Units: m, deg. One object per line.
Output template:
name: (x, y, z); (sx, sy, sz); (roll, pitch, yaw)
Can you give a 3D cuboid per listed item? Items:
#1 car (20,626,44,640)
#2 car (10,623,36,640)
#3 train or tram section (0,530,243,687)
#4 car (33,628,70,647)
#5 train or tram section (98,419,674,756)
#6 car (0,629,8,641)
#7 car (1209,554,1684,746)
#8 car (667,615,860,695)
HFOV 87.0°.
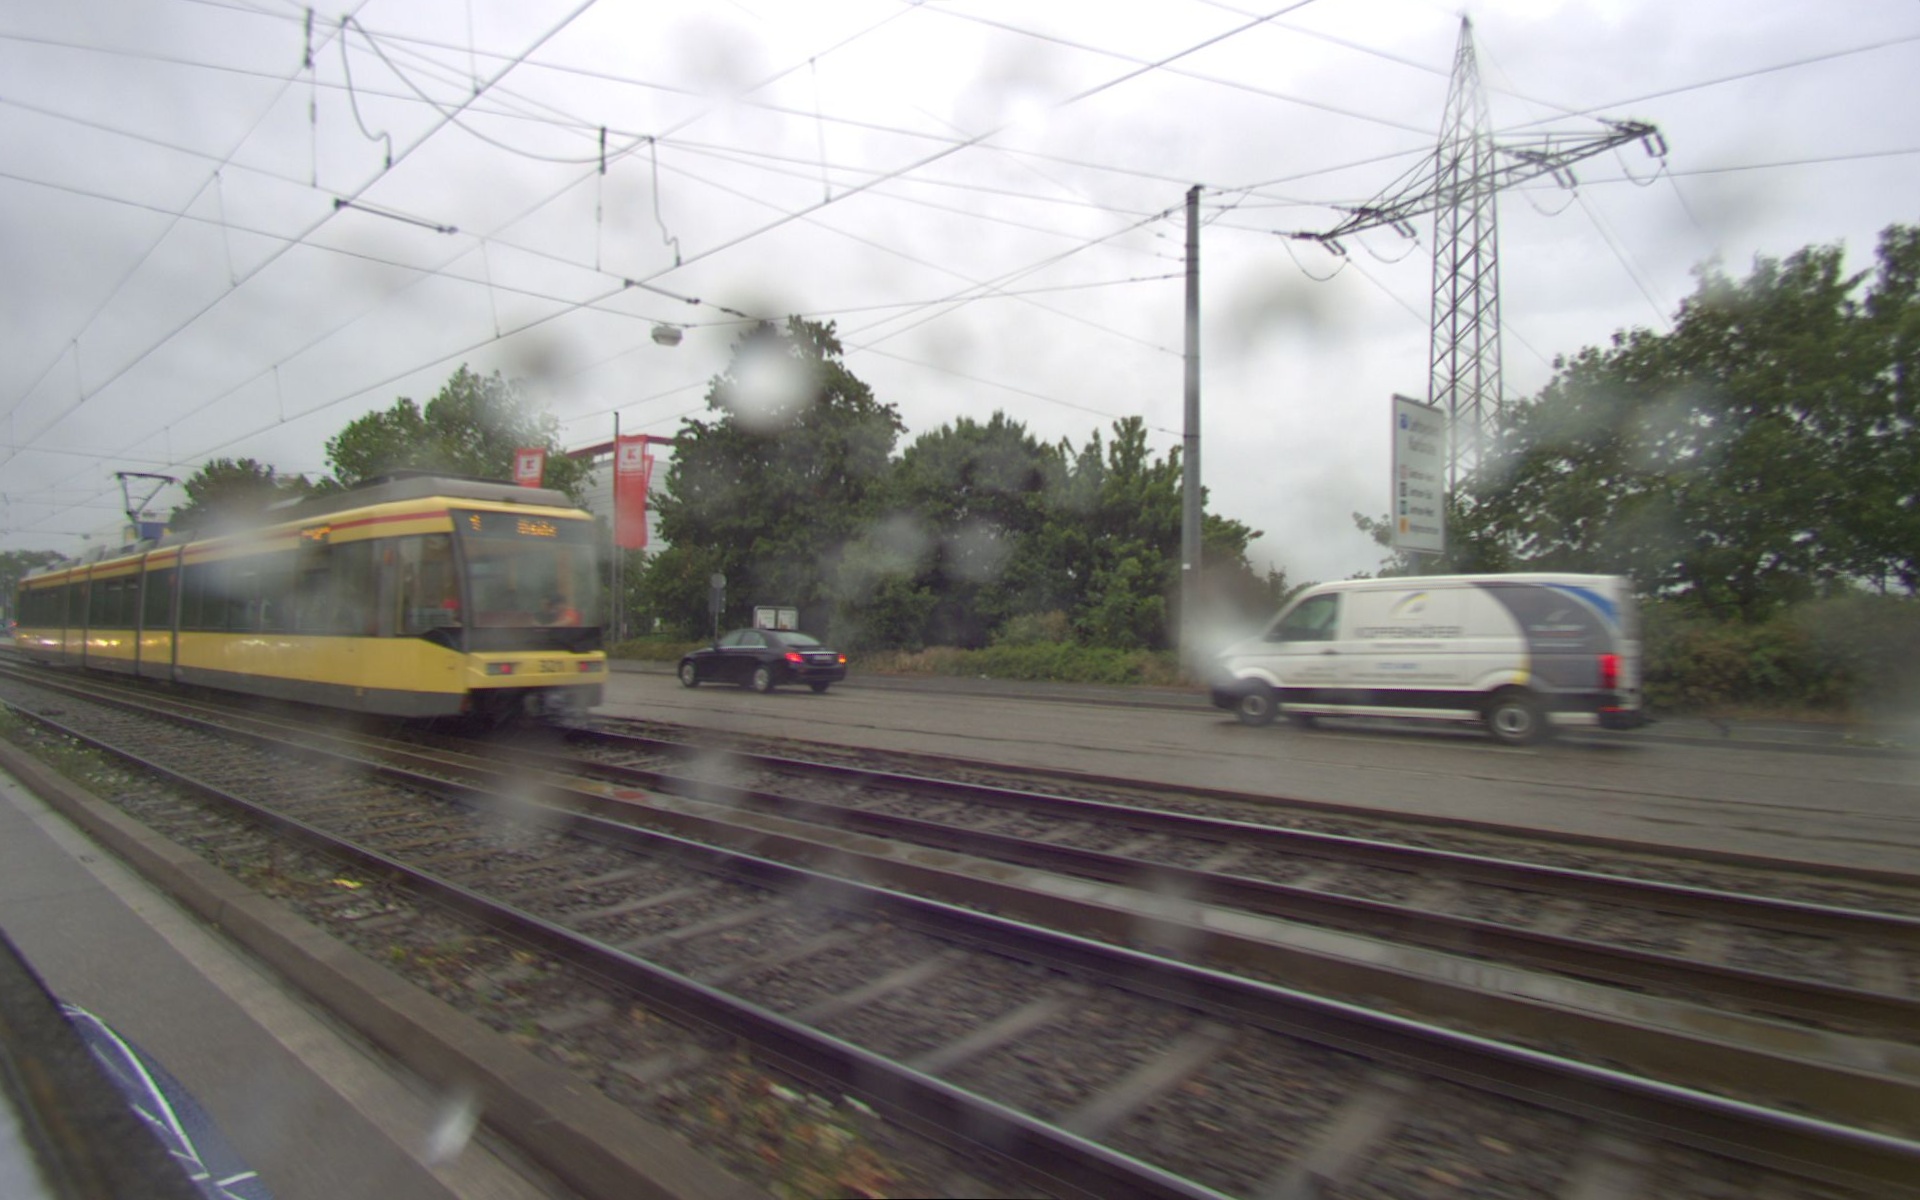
car: (-95.574, 3.400, 104.208); (1.684, 1.465, 4.002); (2, -3, -44)
car: (-107.360, 3.609, 115.950); (3.999, 1.924, 1.820); (-2, -3, 42)
train or tram section: (-26.279, 0.465, 30.995); (17.878, 3.734, 2.835); (-2, -1, 41)
car: (-80.195, 3.302, 89.322); (4.870, 1.665, 1.916); (-2, -3, 43)
train or tram section: (-12.109, 0.139, 18.676); (19.517, 3.734, 2.856); (-2, -1, 41)
car: (-134.149, 4.870, 141.122); (3.999, 1.557, 1.685); (-2, -3, 42)
car: (6.903, 0.761, 14.960); (5.979, 2.316, 2.128); (-2, -5, 41)
car: (-4.672, 1.242, 23.646); (4.727, 1.653, 1.877); (-2, -1, 40)
